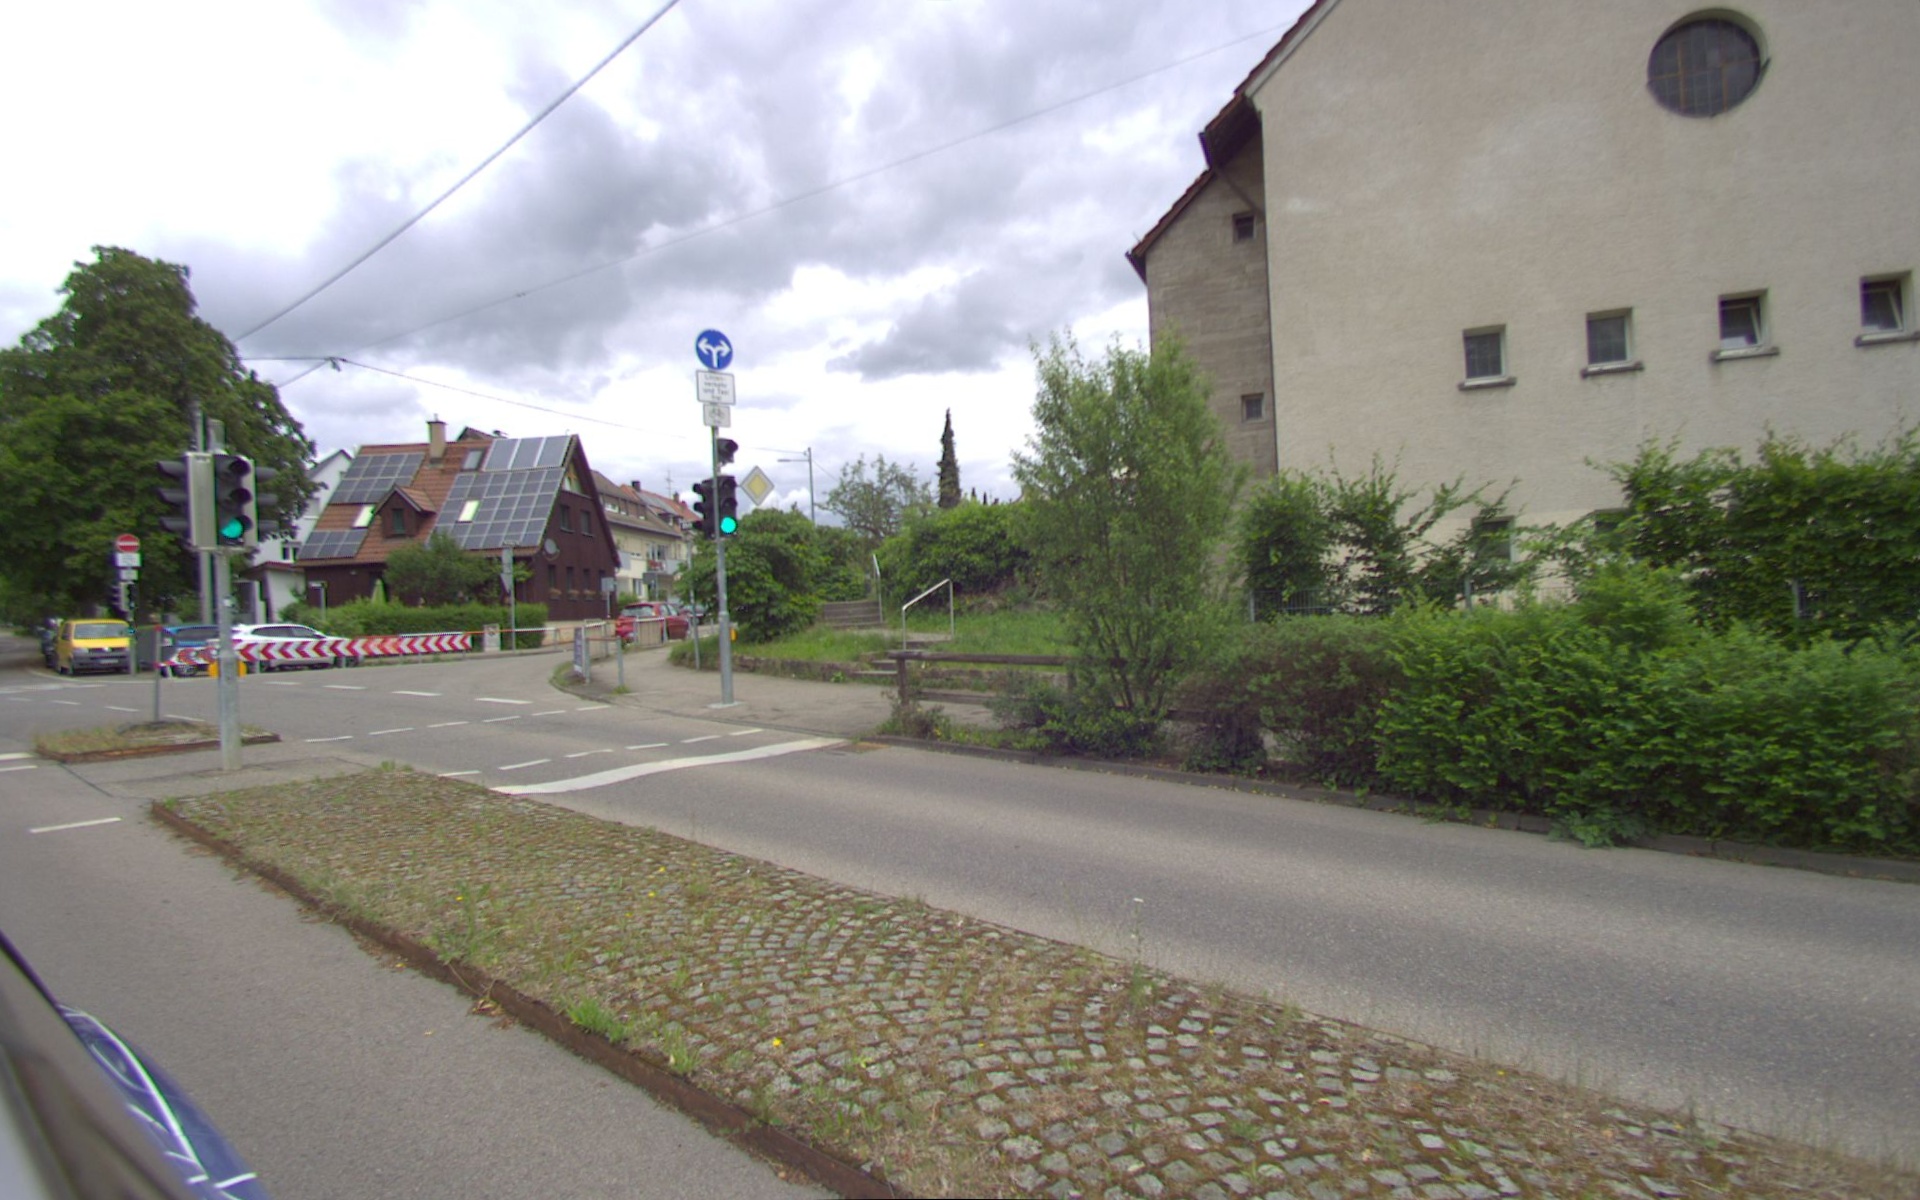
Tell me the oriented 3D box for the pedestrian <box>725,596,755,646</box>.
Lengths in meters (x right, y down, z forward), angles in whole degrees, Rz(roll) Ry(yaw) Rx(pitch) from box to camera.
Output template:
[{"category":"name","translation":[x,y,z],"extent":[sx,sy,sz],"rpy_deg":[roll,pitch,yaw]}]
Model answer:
[{"category":"pedestrian","translation":[-7.583,0.714,34.840],"extent":[0.681,1.665,0.829],"rpy_deg":[-2,1,9]}]

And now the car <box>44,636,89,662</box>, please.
[{"category":"car","translation":[-52.421,2.856,59.441],"extent":[1.824,1.387,4.601],"rpy_deg":[-2,-1,-40]}]

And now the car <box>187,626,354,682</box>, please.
[{"category":"car","translation":[-21.371,1.644,31.499],"extent":[1.838,1.483,3.866],"rpy_deg":[-3,-1,30]}]

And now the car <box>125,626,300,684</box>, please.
[{"category":"car","translation":[-23.746,1.725,32.263],"extent":[1.842,1.558,4.126],"rpy_deg":[-4,-1,37]}]

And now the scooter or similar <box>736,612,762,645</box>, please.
[{"category":"scooter or similar","translation":[-7.435,1.005,35.696],"extent":[0.605,1.103,0.887],"rpy_deg":[-2,2,9]}]

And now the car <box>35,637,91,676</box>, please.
[{"category":"car","translation":[-39.060,2.422,44.094],"extent":[1.724,1.461,4.599],"rpy_deg":[-1,0,-42]}]

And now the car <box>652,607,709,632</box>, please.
[{"category":"car","translation":[-18.834,1.294,68.248],"extent":[3.396,1.501,1.590],"rpy_deg":[-3,-1,2]}]

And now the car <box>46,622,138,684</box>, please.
[{"category":"car","translation":[-31.127,1.860,36.235],"extent":[4.799,2.004,1.896],"rpy_deg":[-2,-1,42]}]

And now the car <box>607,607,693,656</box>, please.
[{"category":"car","translation":[-10.603,1.065,34.865],"extent":[1.751,1.501,3.683],"rpy_deg":[-3,-1,1]}]
